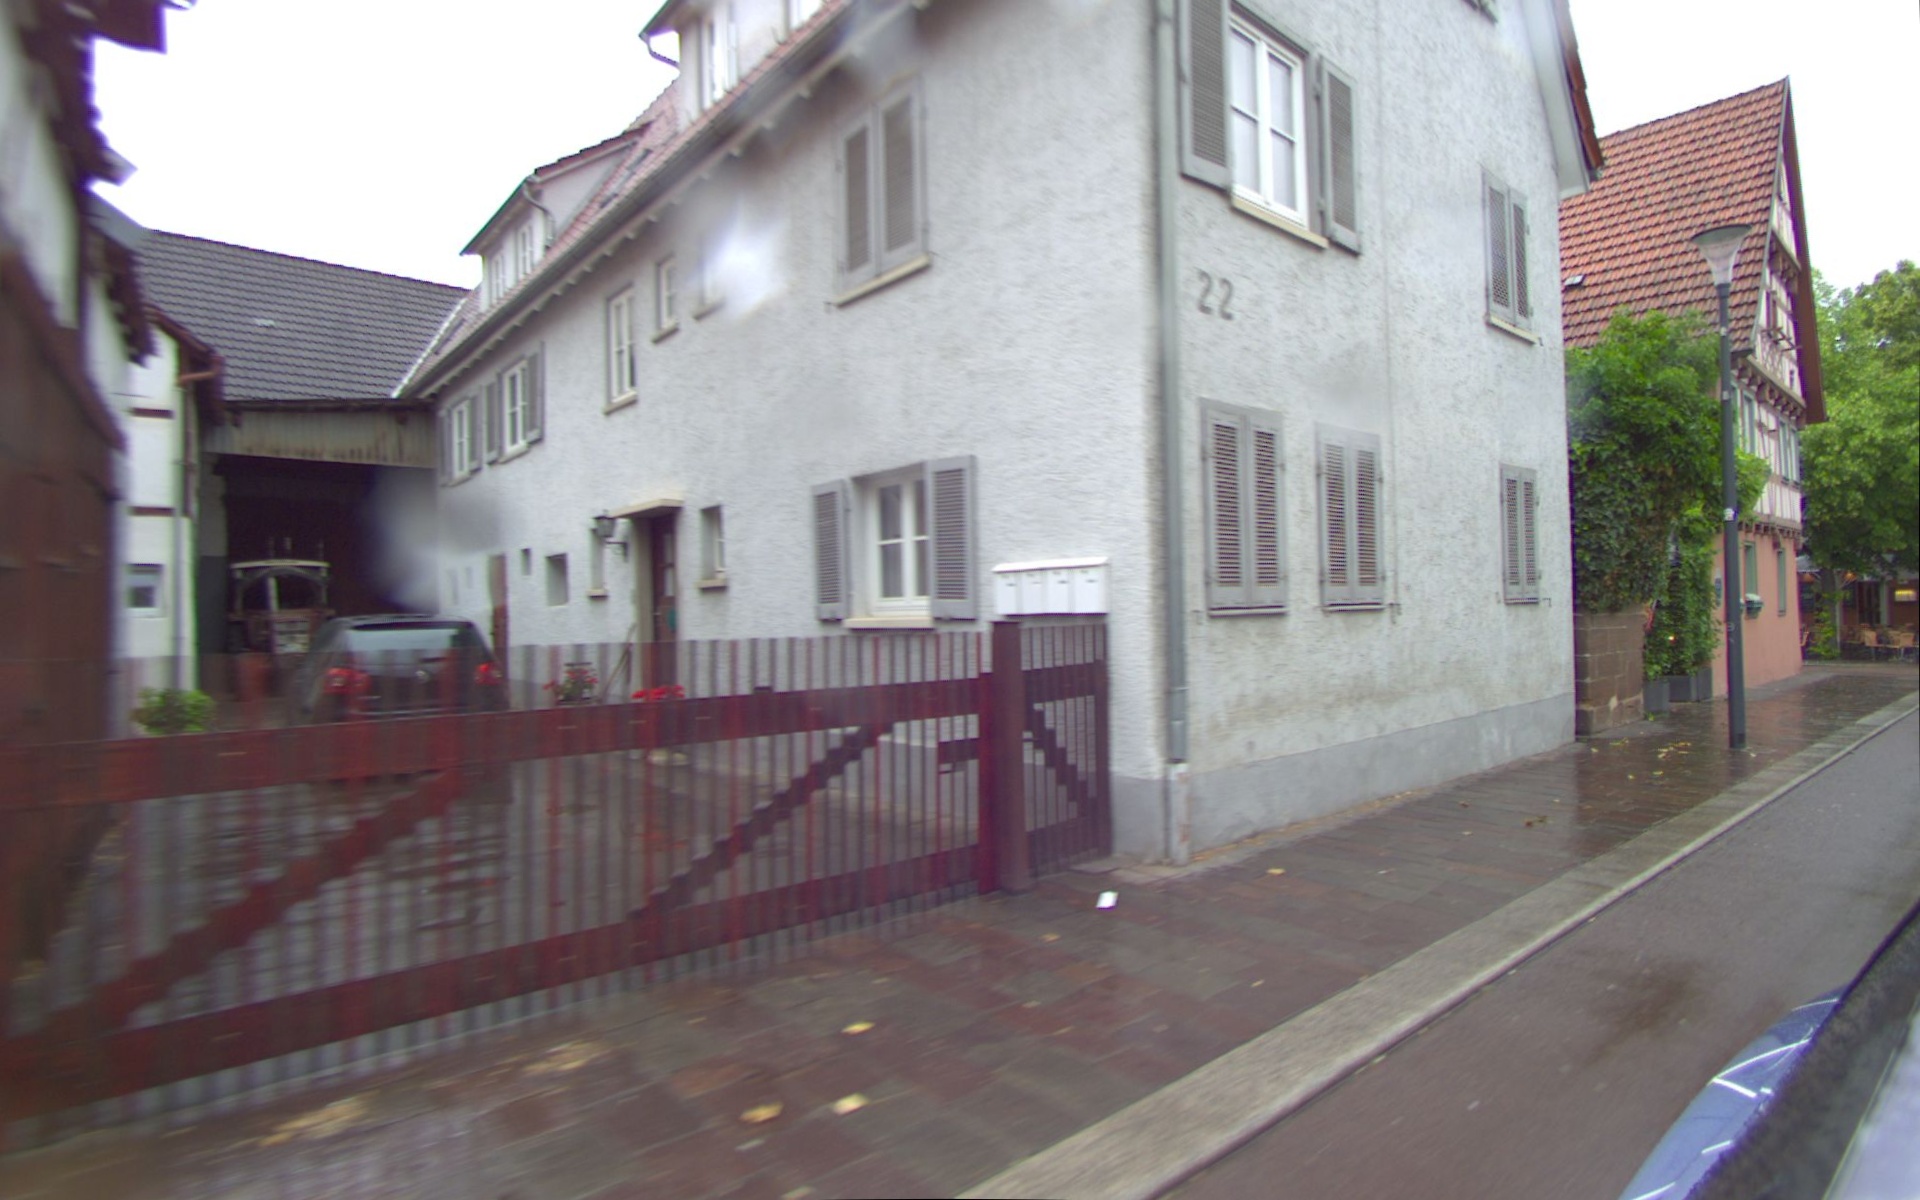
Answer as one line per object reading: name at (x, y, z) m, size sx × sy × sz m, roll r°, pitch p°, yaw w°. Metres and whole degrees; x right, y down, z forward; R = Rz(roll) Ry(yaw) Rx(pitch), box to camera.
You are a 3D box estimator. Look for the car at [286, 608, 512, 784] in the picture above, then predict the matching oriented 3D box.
car at (-5.885, 0.828, 10.432) m, size 1.636 × 1.441 × 3.416 m, roll -1°, pitch 0°, yaw -36°
